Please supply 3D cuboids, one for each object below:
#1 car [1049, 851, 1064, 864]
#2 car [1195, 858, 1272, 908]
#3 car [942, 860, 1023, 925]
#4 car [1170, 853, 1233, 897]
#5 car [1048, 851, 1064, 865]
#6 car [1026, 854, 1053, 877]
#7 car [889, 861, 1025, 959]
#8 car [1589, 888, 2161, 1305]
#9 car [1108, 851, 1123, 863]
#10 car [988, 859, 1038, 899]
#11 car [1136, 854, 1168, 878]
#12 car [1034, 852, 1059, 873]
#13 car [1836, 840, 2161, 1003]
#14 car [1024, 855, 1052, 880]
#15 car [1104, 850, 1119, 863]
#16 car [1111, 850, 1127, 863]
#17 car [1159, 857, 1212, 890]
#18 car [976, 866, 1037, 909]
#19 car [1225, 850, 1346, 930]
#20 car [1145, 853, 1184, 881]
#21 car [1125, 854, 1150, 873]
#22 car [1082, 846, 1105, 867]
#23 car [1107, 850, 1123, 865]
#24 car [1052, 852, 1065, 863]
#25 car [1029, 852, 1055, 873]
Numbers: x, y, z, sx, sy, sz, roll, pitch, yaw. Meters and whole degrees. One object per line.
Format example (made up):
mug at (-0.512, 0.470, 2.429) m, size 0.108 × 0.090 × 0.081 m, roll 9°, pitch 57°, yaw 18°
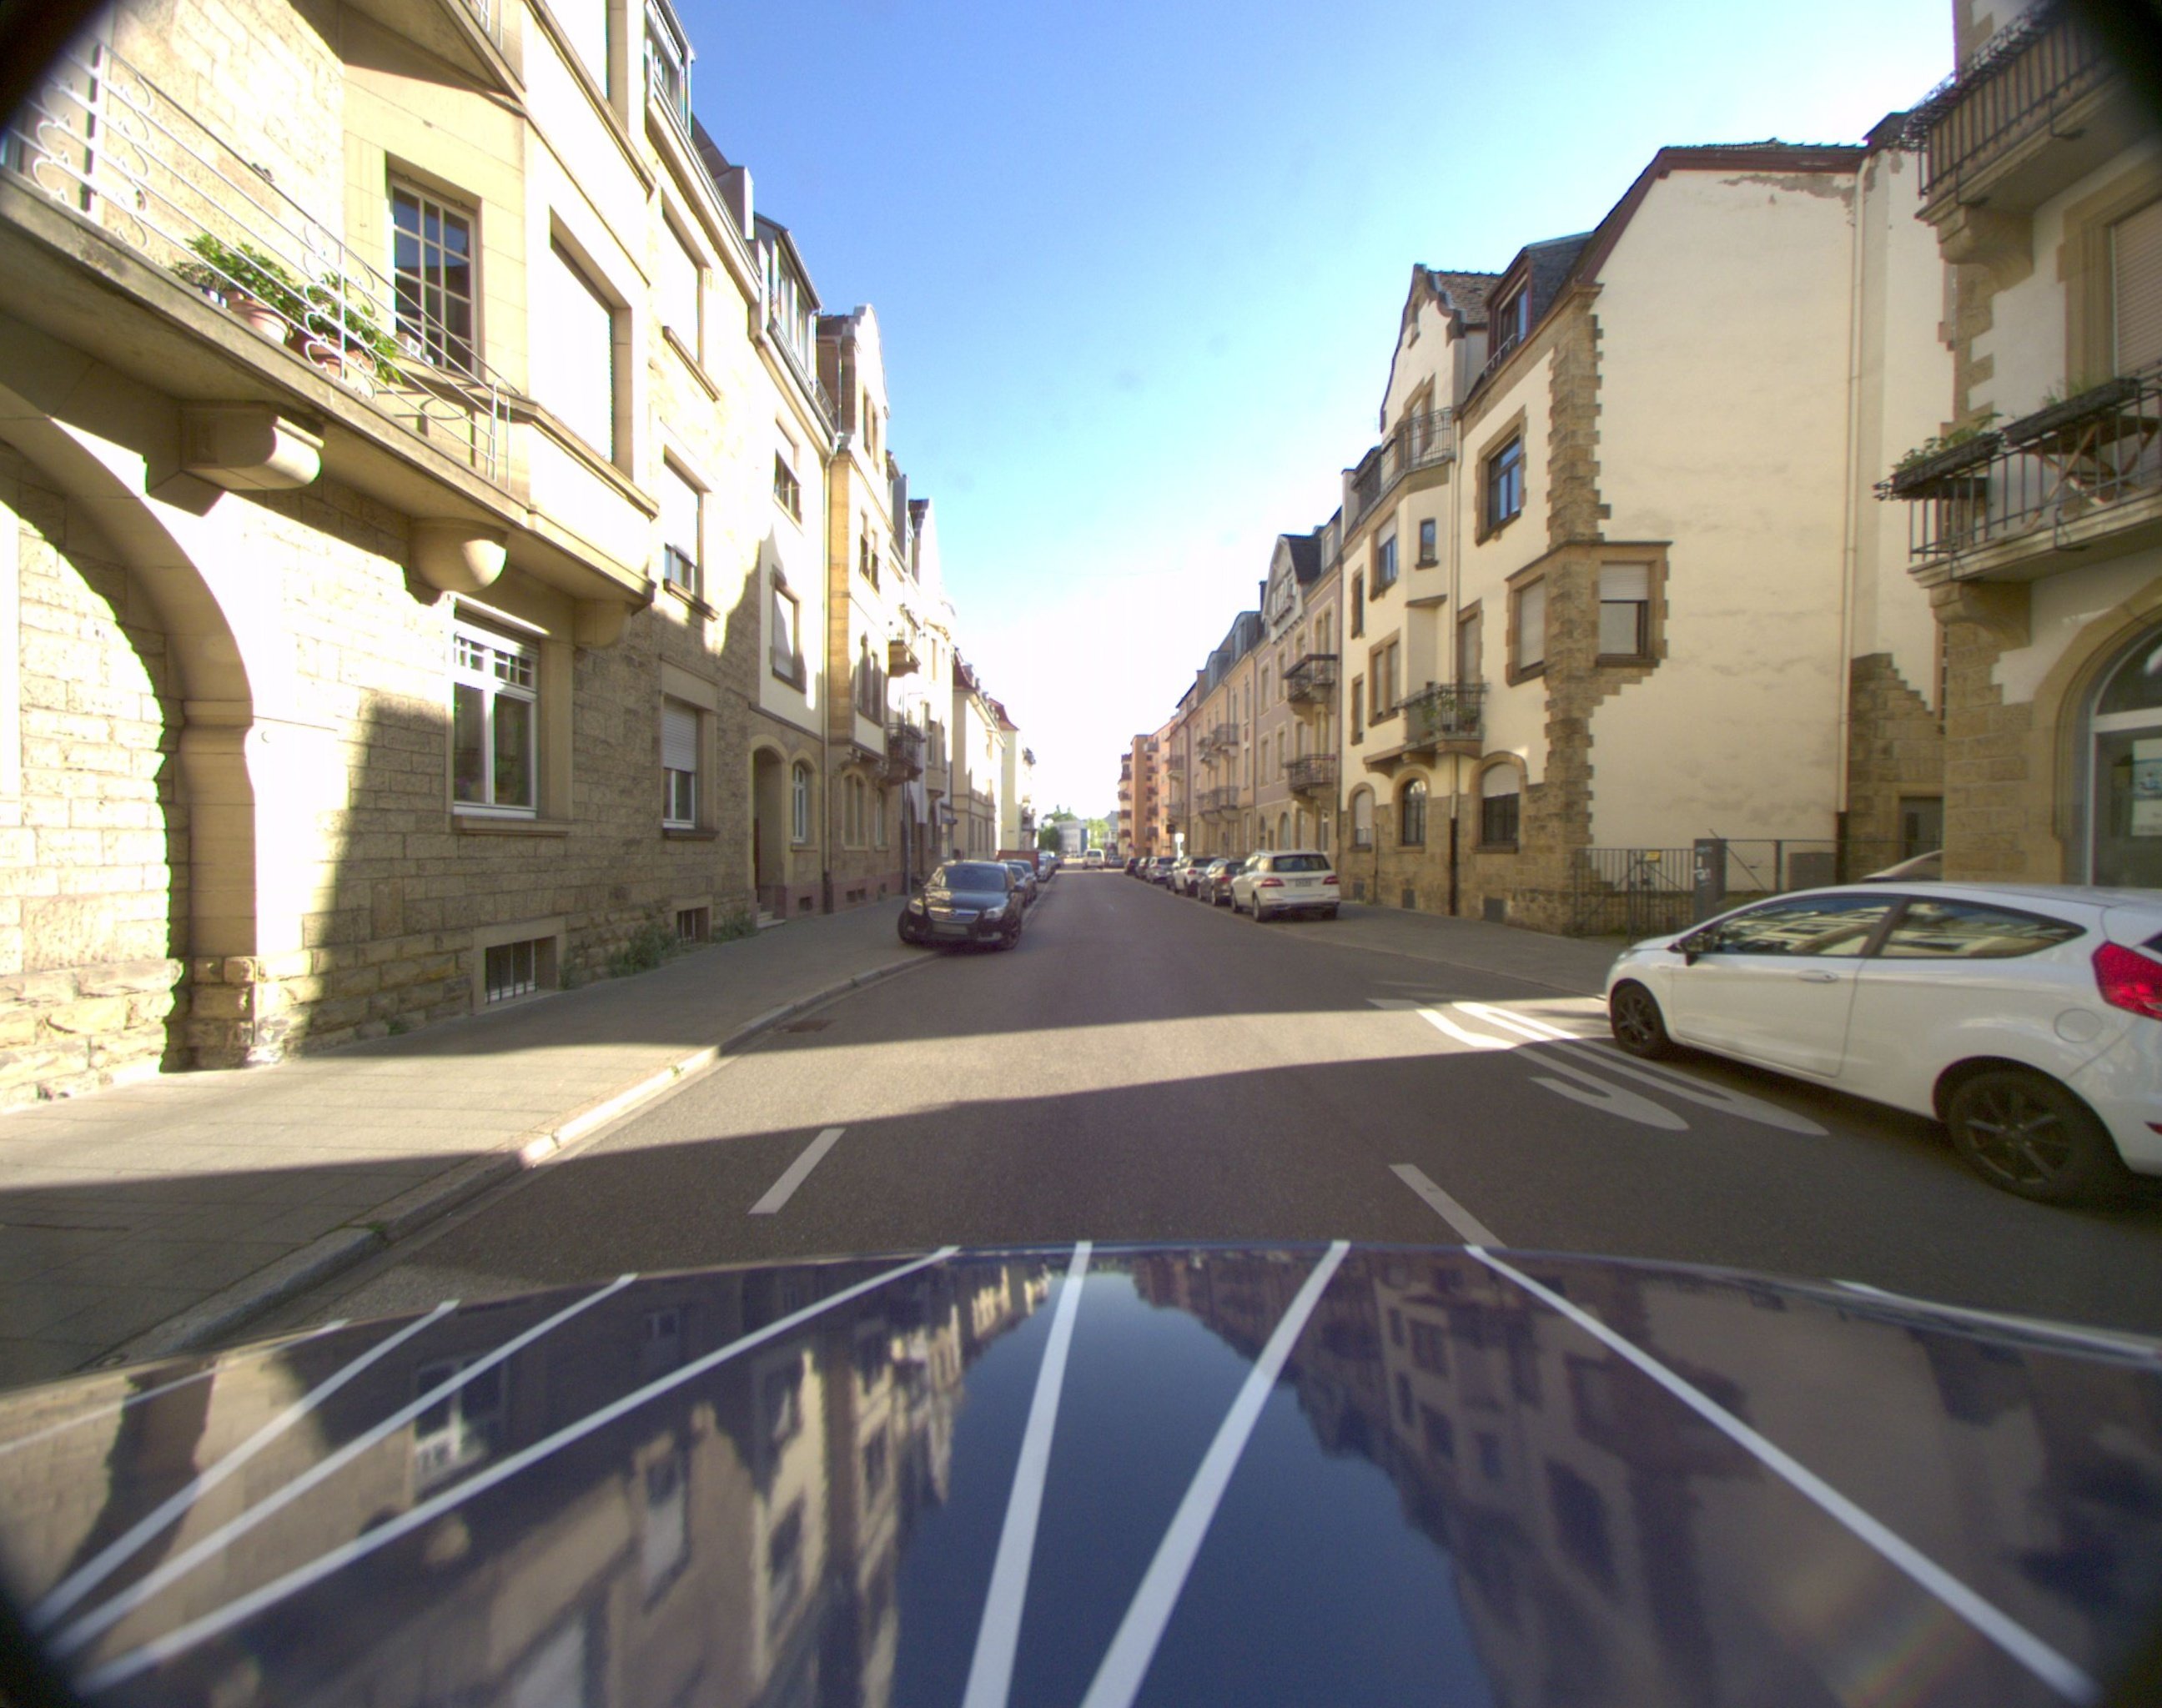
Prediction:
car at (-3.003, 0.403, 92.177) m, size 1.708 × 1.417 × 3.721 m, roll 1°, pitch 1°, yaw -1°
car at (5.008, 0.905, 25.471) m, size 1.578 × 1.479 × 4.279 m, roll -2°, pitch 0°, yaw -2°
car at (-2.444, 0.921, 19.751) m, size 1.655 × 1.434 × 4.257 m, roll 1°, pitch 0°, yaw -1°
car at (4.831, 0.793, 31.030) m, size 1.719 × 1.574 × 4.019 m, roll -3°, pitch 0°, yaw -2°
car at (-2.846, 0.445, 86.713) m, size 1.708 × 1.417 × 3.721 m, roll 1°, pitch 1°, yaw -1°
car at (-2.813, 0.776, 51.842) m, size 1.657 × 1.456 × 4.093 m, roll 0°, pitch 0°, yaw -1°
car at (-2.113, 0.906, 14.136) m, size 1.870 × 1.453 × 4.338 m, roll 1°, pitch 0°, yaw -1°
car at (5.114, 1.028, 4.625) m, size 1.637 × 1.455 × 3.735 m, roll 0°, pitch 1°, yaw 2°
car at (4.176, 0.364, 93.619) m, size 1.678 × 1.414 × 3.285 m, roll 1°, pitch 0°, yaw 0°
car at (-2.579, 0.911, 29.399) m, size 1.791 × 1.421 × 3.806 m, roll 0°, pitch 0°, yaw -4°
car at (4.752, 0.796, 51.237) m, size 1.719 × 1.512 × 4.109 m, roll 1°, pitch 0°, yaw -1°
car at (-2.814, 0.684, 62.345) m, size 1.791 × 1.655 × 4.434 m, roll 0°, pitch 0°, yaw 1°
car at (11.893, 0.723, 9.005) m, size 3.978 × 1.718 × 1.909 m, roll 0°, pitch 0°, yaw 0°
car at (-2.601, 0.781, 46.456) m, size 1.590 × 1.456 × 3.710 m, roll 0°, pitch 0°, yaw -2°
car at (4.244, 0.320, 106.780) m, size 1.822 × 1.867 × 4.110 m, roll 1°, pitch 0°, yaw 0°
car at (4.498, 0.283, 89.813) m, size 1.678 × 1.414 × 3.500 m, roll 0°, pitch 0°, yaw 0°
car at (4.936, 0.880, 36.415) m, size 1.677 × 1.385 × 3.664 m, roll -3°, pitch 0°, yaw -5°
car at (-2.378, 1.049, 24.985) m, size 1.697 × 1.247 × 3.940 m, roll 0°, pitch 0°, yaw -1°
car at (5.120, 0.834, 19.732) m, size 1.896 × 1.712 × 4.726 m, roll -4°, pitch 0°, yaw 2°
car at (4.876, 0.737, 44.544) m, size 1.719 × 1.529 × 3.722 m, roll -1°, pitch 0°, yaw -2°
car at (4.556, 0.725, 61.523) m, size 1.719 × 1.378 × 3.864 m, roll -3°, pitch 0°, yaw 0°
car at (1.220, 0.232, 73.964) m, size 1.868 × 1.925 × 4.598 m, roll 0°, pitch 0°, yaw -4°
car at (4.454, 0.488, 100.300) m, size 1.822 × 1.867 × 4.111 m, roll 1°, pitch 0°, yaw 0°
car at (-2.914, 0.478, 98.527) m, size 1.708 × 1.417 × 3.721 m, roll 0°, pitch 0°, yaw -3°
car at (-2.921, 0.645, 57.911) m, size 1.684 × 1.537 × 3.914 m, roll 1°, pitch 0°, yaw 1°
